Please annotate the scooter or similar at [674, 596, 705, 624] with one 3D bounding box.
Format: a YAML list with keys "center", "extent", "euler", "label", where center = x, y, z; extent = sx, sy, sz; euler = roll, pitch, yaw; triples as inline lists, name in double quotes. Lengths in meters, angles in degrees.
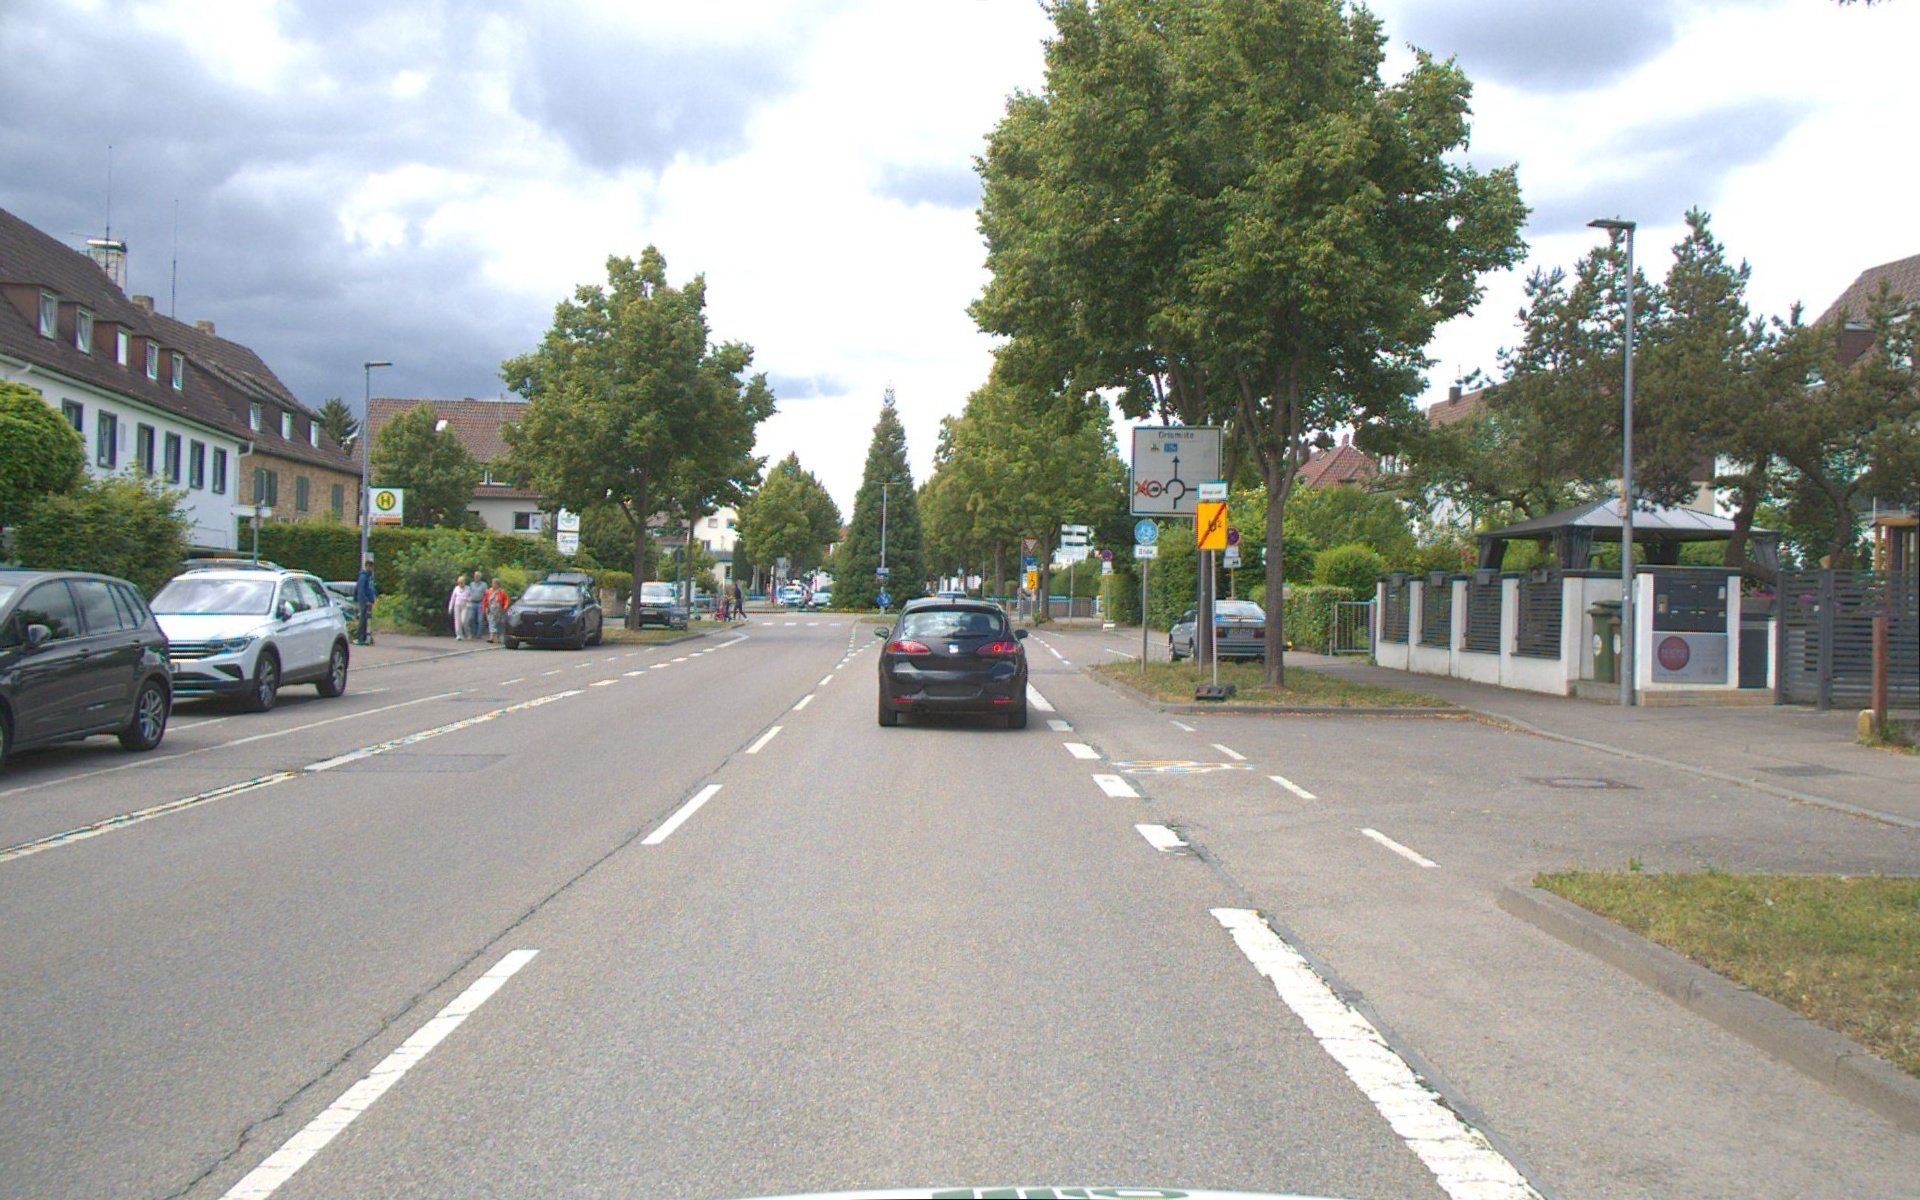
- center: [-11.589, 0.426, 70.889]
  extent: [1.272, 1.158, 0.343]
  euler: [0, 0, -34]
  label: "scooter or similar"

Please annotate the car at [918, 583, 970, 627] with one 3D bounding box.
- center: [-0.631, 0.184, 65.670]
  extent: [1.953, 1.641, 3.999]
  euler: [1, 0, -1]
  label: "car"

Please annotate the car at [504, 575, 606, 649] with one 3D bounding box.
- center: [-10.226, 0.279, 42.064]
  extent: [1.690, 1.755, 4.562]
  euler: [1, 0, -3]
  label: "car"

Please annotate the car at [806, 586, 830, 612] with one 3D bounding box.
- center: [-9.408, -0.088, 109.870]
  extent: [1.537, 1.663, 3.619]
  euler: [1, 0, -4]
  label: "car"

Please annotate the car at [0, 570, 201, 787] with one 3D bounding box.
- center: [-7.853, 0.551, 13.317]
  extent: [1.643, 1.579, 4.270]
  euler: [1, 0, -3]
  label: "car"

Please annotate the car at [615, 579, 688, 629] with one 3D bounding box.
- center: [-10.853, 0.132, 58.447]
  extent: [1.823, 1.682, 4.293]
  euler: [1, 0, -1]
  label: "car"

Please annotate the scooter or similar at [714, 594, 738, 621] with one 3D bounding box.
- center: [-10.400, 0.327, 73.552]
  extent: [0.948, 1.114, 0.406]
  euler: [3, -1, 26]
  label: "scooter or similar"

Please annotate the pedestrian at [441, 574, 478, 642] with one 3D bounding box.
- center: [-12.710, 0.204, 42.027]
  extent: [0.772, 1.692, 0.880]
  euler: [1, 0, -8]
  label: "pedestrian"

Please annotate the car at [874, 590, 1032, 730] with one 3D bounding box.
- center: [-0.036, 0.644, 19.985]
  extent: [1.696, 1.512, 4.001]
  euler: [1, 0, 1]
  label: "car"

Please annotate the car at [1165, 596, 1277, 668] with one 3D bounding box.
- center: [5.388, 0.666, 34.622]
  extent: [1.579, 1.401, 4.385]
  euler: [1, -1, -1]
  label: "car"

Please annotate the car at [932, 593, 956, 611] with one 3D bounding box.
- center: [-1.349, 0.170, 138.201]
  extent: [1.449, 1.515, 3.372]
  euler: [1, 0, -11]
  label: "car"

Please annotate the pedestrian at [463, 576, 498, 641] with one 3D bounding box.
- center: [-12.574, 0.226, 43.401]
  extent: [0.772, 1.692, 0.590]
  euler: [1, 0, -9]
  label: "pedestrian"

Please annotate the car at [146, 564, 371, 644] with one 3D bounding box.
- center: [-15.728, 0.096, 37.347]
  extent: [4.443, 1.581, 2.026]
  euler: [2, 0, -19]
  label: "car"

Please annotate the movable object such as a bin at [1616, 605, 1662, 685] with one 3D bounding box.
- center: [8.973, 0.593, 21.867]
  extent: [0.427, 1.040, 0.454]
  euler: [0, 0, 0]
  label: "movable object such as a bin"

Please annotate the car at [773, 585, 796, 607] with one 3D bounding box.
- center: [-16.330, -0.381, 153.885]
  extent: [1.990, 2.005, 3.997]
  euler: [0, 0, -4]
  label: "car"

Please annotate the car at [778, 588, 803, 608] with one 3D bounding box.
- center: [-13.925, -0.164, 135.884]
  extent: [1.761, 1.629, 3.998]
  euler: [0, 0, -2]
  label: "car"

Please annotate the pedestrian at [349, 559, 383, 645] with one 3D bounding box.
- center: [-12.869, 0.041, 35.834]
  extent: [0.493, 1.837, 0.671]
  euler: [1, 0, -2]
  label: "pedestrian"

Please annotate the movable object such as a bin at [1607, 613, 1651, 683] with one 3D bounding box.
- center: [9.075, 0.653, 22.441]
  extent: [0.427, 0.936, 0.395]
  euler: [0, 0, 0]
  label: "movable object such as a bin"

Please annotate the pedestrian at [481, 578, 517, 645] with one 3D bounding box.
- center: [-11.815, 0.298, 42.382]
  extent: [0.772, 1.692, 0.753]
  euler: [1, 0, -8]
  label: "pedestrian"

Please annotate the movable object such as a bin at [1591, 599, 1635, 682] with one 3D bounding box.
- center: [9.062, 0.557, 22.973]
  extent: [0.427, 1.129, 0.454]
  euler: [0, 0, 0]
  label: "movable object such as a bin"

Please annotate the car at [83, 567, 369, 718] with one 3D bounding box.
- center: [-8.933, 0.457, 20.592]
  extent: [1.785, 1.662, 4.582]
  euler: [0, 0, -4]
  label: "car"

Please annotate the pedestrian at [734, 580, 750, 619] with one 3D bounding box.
- center: [-9.673, -0.025, 73.389]
  extent: [0.506, 1.699, 0.480]
  euler: [1, 0, 39]
  label: "pedestrian"

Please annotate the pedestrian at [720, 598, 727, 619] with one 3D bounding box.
- center: [-10.350, 0.371, 72.367]
  extent: [0.235, 0.910, 0.257]
  euler: [1, 0, -28]
  label: "pedestrian"
